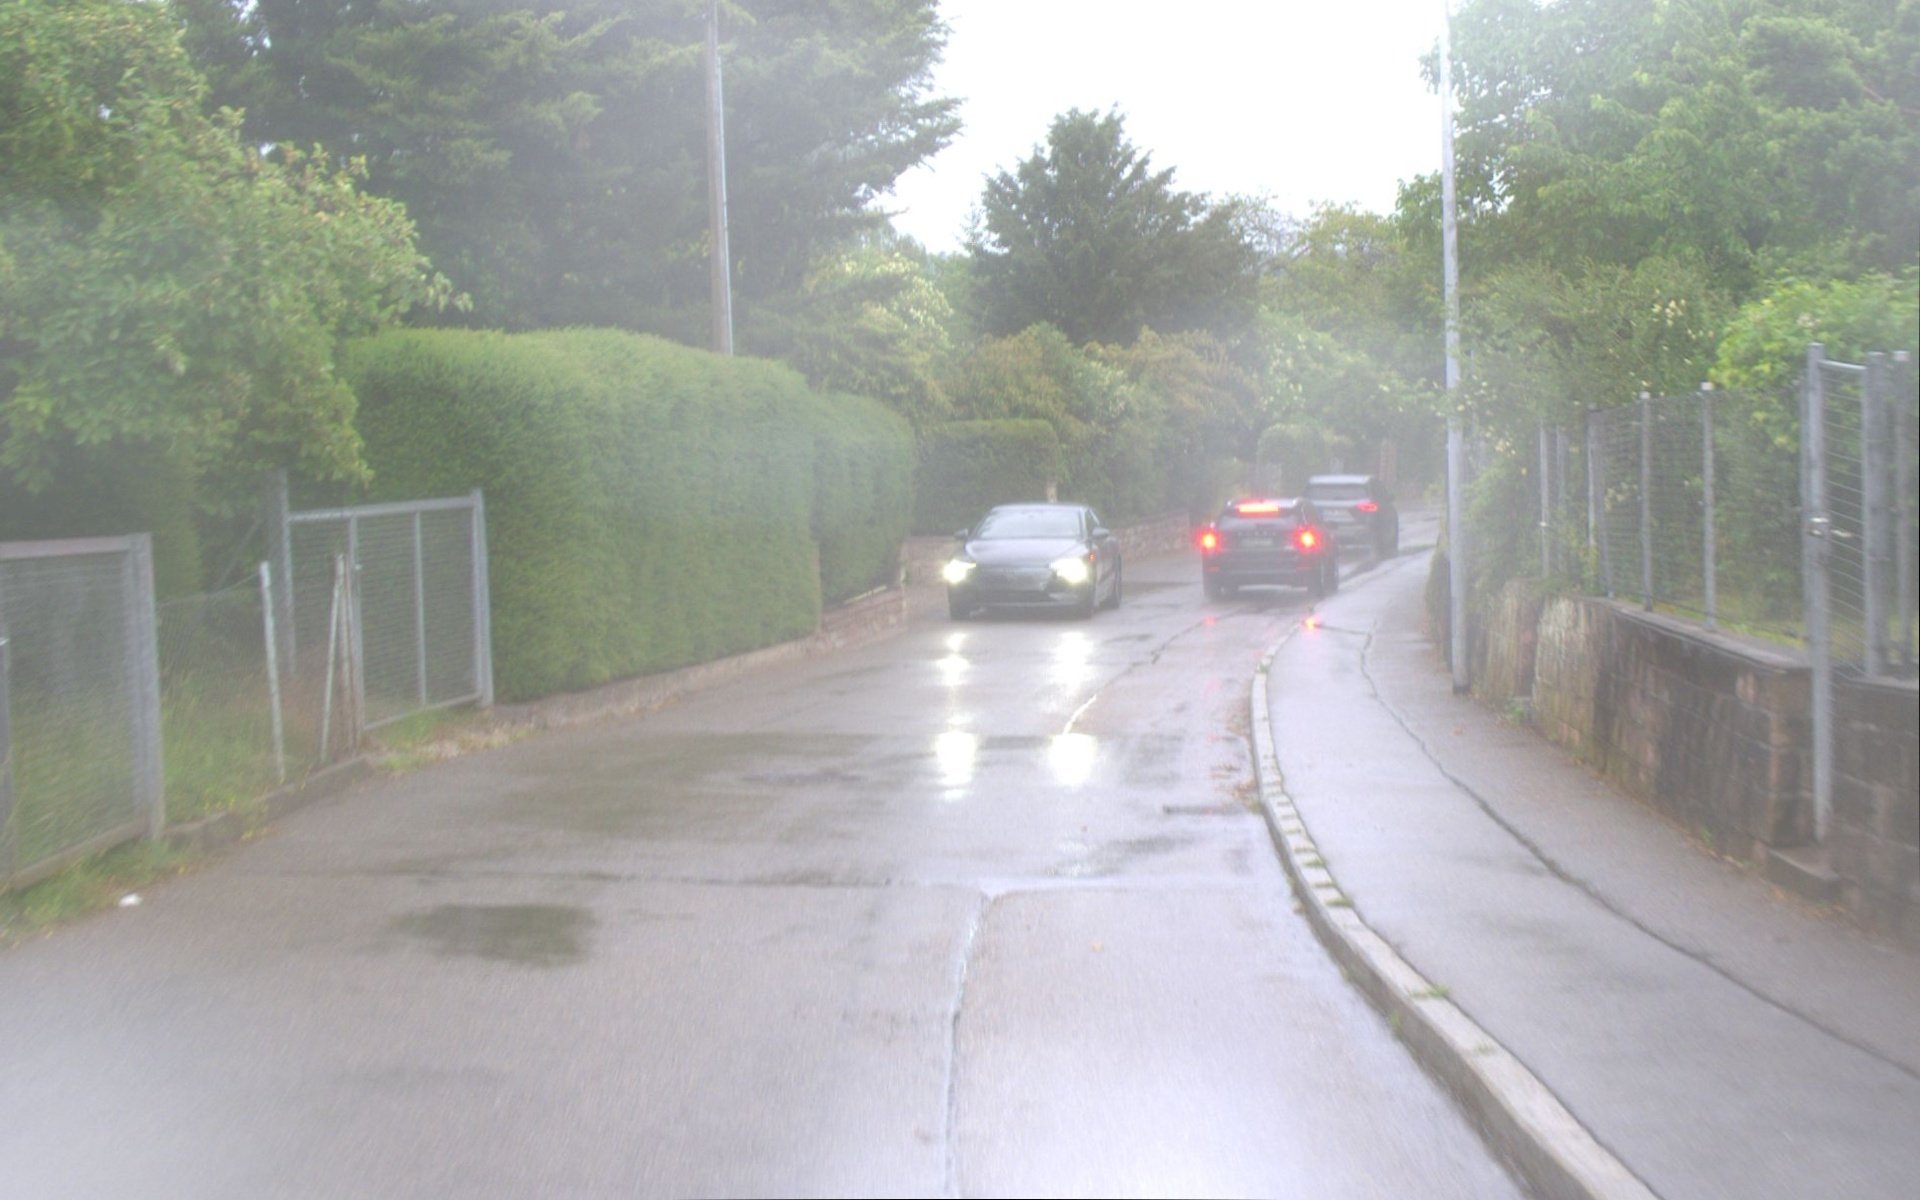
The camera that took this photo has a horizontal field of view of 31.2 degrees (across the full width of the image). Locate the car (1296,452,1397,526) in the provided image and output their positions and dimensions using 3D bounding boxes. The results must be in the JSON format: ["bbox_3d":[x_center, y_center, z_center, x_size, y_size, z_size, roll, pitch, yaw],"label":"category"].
[{"bbox_3d":[7.637,-2.196,67.664,1.635,1.409,3.543,1,2,12],"label":"car"}]

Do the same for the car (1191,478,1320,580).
[{"bbox_3d":[4.423,-1.081,51.100,1.635,1.445,3.543,1,2,9],"label":"car"}]

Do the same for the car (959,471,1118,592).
[{"bbox_3d":[1.108,-0.964,46.538,1.889,1.518,4.421,1,3,5],"label":"car"}]
